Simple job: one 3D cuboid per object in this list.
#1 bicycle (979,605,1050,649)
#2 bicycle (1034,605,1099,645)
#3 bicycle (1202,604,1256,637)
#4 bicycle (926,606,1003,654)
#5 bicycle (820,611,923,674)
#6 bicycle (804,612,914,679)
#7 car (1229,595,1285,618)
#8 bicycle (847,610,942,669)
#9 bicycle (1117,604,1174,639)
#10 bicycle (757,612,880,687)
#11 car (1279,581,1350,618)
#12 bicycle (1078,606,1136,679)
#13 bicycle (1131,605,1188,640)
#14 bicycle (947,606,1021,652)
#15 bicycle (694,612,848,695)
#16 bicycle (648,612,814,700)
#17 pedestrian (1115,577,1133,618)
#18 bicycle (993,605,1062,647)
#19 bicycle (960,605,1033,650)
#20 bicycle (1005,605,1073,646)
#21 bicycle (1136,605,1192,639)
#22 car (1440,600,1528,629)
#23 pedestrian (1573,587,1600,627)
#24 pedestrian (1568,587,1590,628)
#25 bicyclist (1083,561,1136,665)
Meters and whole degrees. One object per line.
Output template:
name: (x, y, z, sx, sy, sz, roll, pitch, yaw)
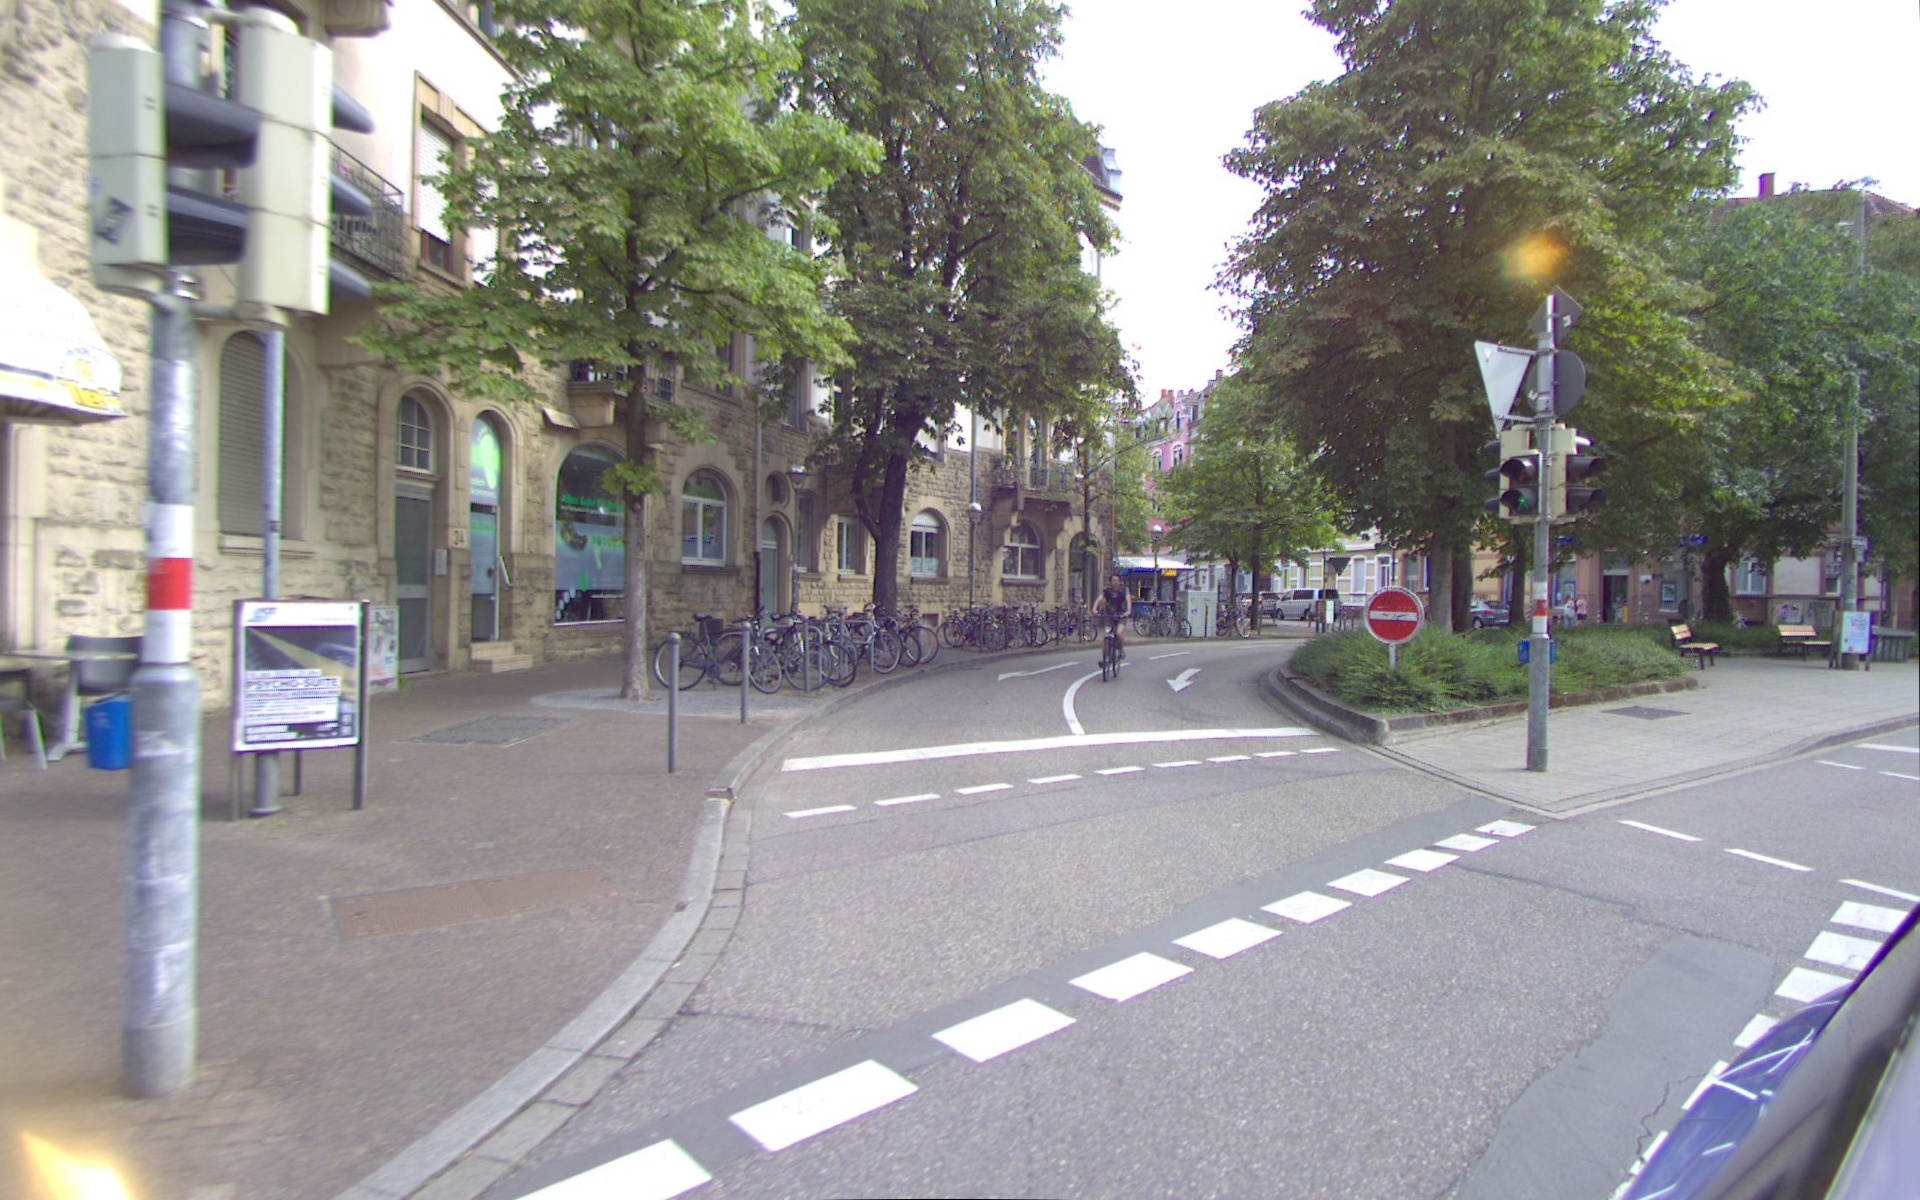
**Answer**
bicycle: (1.421, 0.694, 26.357, 1.775, 1.052, 0.478, 2, -1, 27)
bicycle: (3.035, 0.699, 28.842, 1.775, 1.052, 0.478, 2, -1, 27)
bicycle: (9.215, 0.697, 34.708, 1.787, 1.051, 0.475, 1, -1, 43)
bicycle: (0.103, 0.701, 23.925, 1.775, 1.052, 0.478, 2, -1, 27)
bicycle: (-1.582, 0.755, 18.205, 1.763, 1.052, 0.481, 2, -1, 8)
bicycle: (-1.674, 0.750, 16.876, 1.760, 1.052, 0.482, 2, -1, 2)
car: (19.594, 0.414, 66.939, 1.702, 1.491, 3.967, 0, 0, -17)
bicycle: (-1.262, 0.757, 19.569, 1.763, 1.052, 0.481, 2, -1, 8)
bicycle: (5.828, 0.671, 31.835, 1.787, 1.051, 0.475, 1, -1, 43)
bicycle: (-2.122, 0.742, 15.261, 1.760, 1.052, 0.482, 2, -1, 2)
car: (21.417, -0.026, 61.353, 1.702, 2.143, 4.554, 0, 0, -17)
bicycle: (2.552, 0.669, 17.272, 0.872, 1.058, 3.088, 1, 1, 10)
bicycle: (6.360, 0.697, 32.398, 1.787, 1.051, 0.475, 1, -1, 43)
bicycle: (0.583, 0.694, 24.791, 1.775, 1.052, 0.478, 2, -1, 27)
bicycle: (-2.574, 0.731, 13.892, 2.008, 1.052, 0.483, 2, -1, -5)
bicycle: (-2.934, 0.721, 13.088, 2.008, 1.052, 0.483, 2, -1, -5)
pedestrian: (7.009, -0.127, 43.330, 0.660, 1.724, 0.637, 1, 0, 1)
bicycle: (1.796, 0.693, 27.048, 1.775, 1.052, 0.478, 2, -1, 27)
bicycle: (0.902, 0.690, 25.456, 1.775, 1.052, 0.478, 2, -1, 27)
bicycle: (2.161, 0.690, 27.687, 1.775, 1.052, 0.478, 2, -1, 27)
bicycle: (6.678, 0.725, 33.130, 1.787, 1.051, 0.475, 1, -1, 43)
car: (24.343, 0.663, 47.142, 1.703, 1.282, 3.596, 0, 0, -12)
pedestrian: (27.067, 0.297, 43.724, 0.765, 1.715, 0.789, 1, 0, -38)
pedestrian: (26.415, 0.323, 43.154, 0.629, 1.715, 0.612, 1, 0, -40)
bicyclist: (2.590, 0.219, 17.422, 0.826, 1.711, 1.243, 1, 0, 11)
